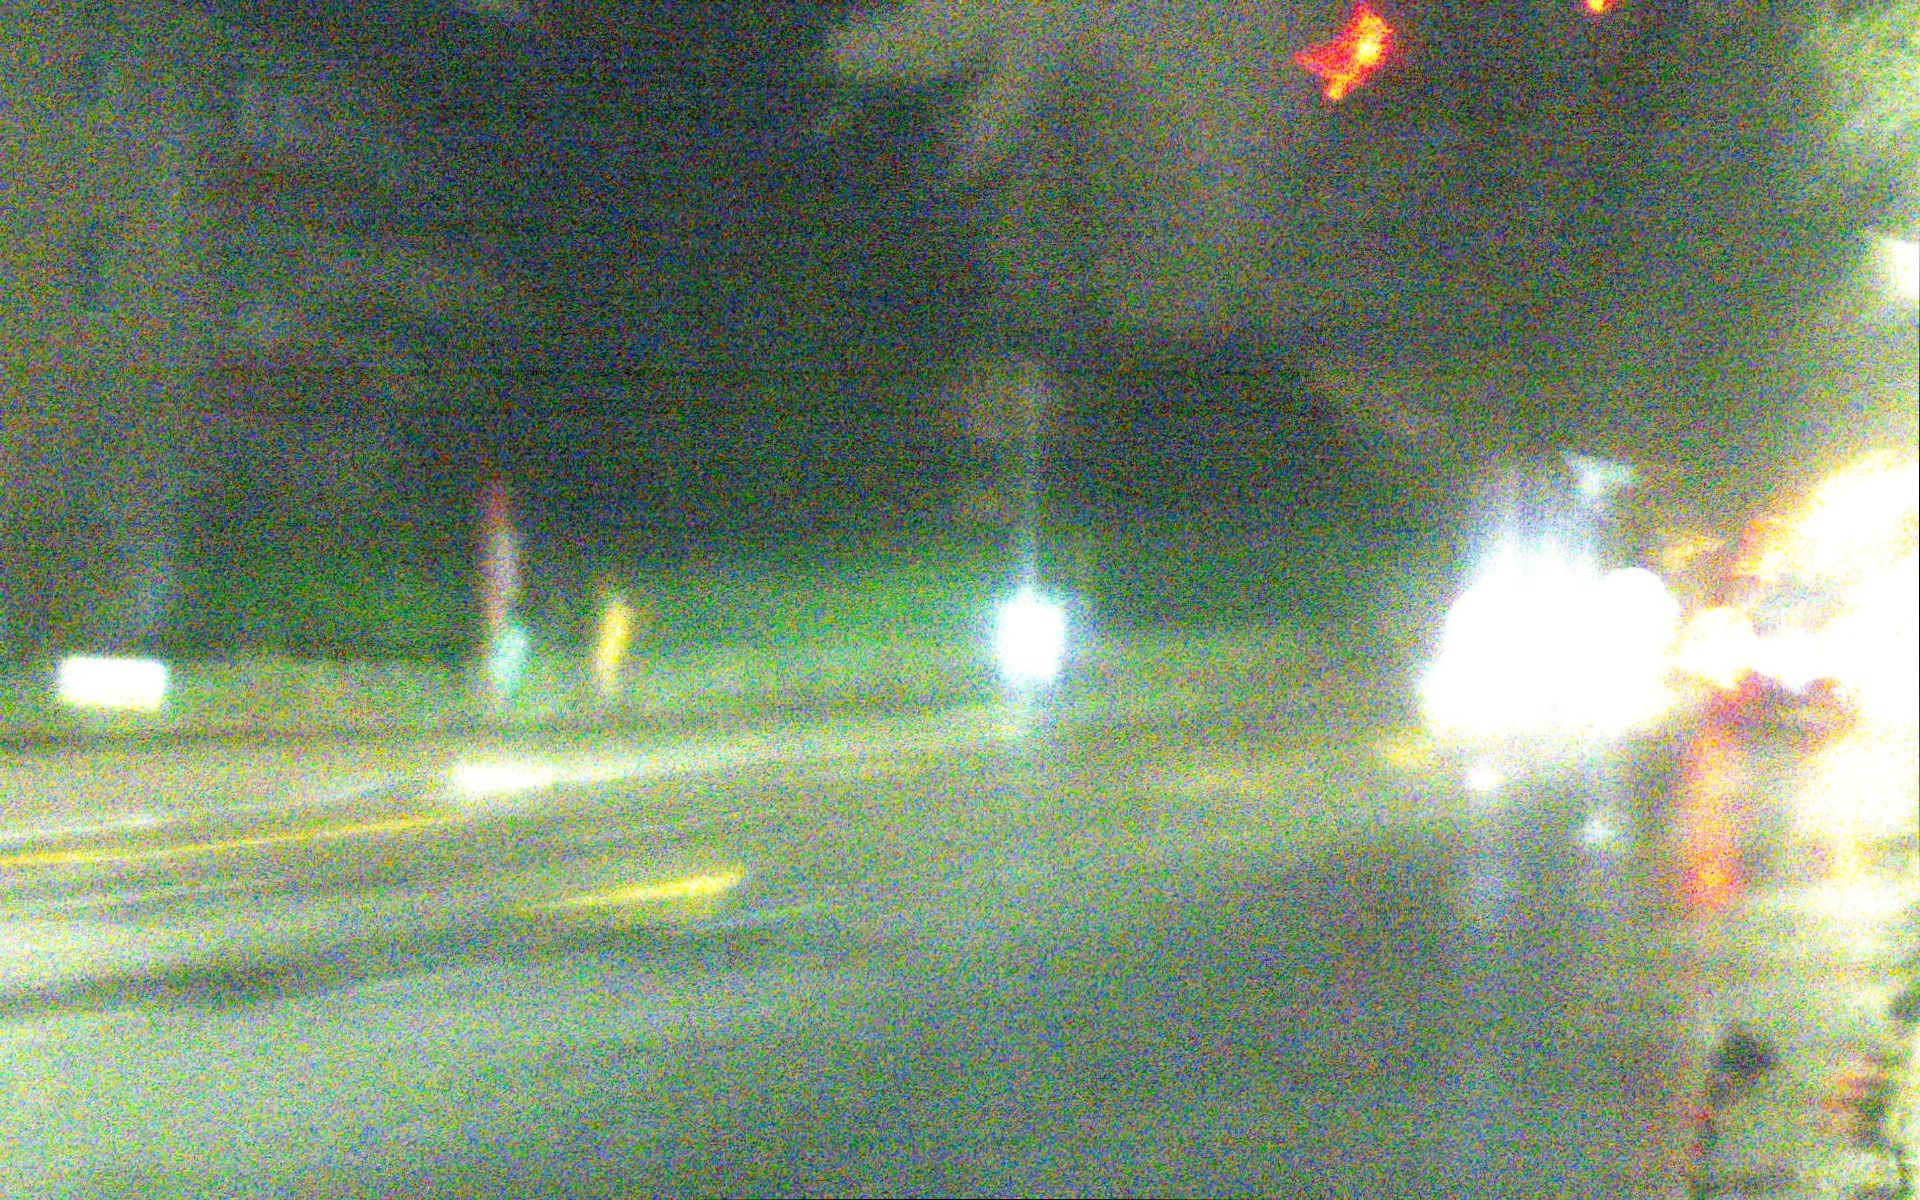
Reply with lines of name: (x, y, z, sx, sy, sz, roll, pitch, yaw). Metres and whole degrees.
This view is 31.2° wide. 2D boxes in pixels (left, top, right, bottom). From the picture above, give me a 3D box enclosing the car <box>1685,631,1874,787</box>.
car: (10.097, 1.302, 42.164, 1.995, 1.678, 3.997, 4, 0, 16)
